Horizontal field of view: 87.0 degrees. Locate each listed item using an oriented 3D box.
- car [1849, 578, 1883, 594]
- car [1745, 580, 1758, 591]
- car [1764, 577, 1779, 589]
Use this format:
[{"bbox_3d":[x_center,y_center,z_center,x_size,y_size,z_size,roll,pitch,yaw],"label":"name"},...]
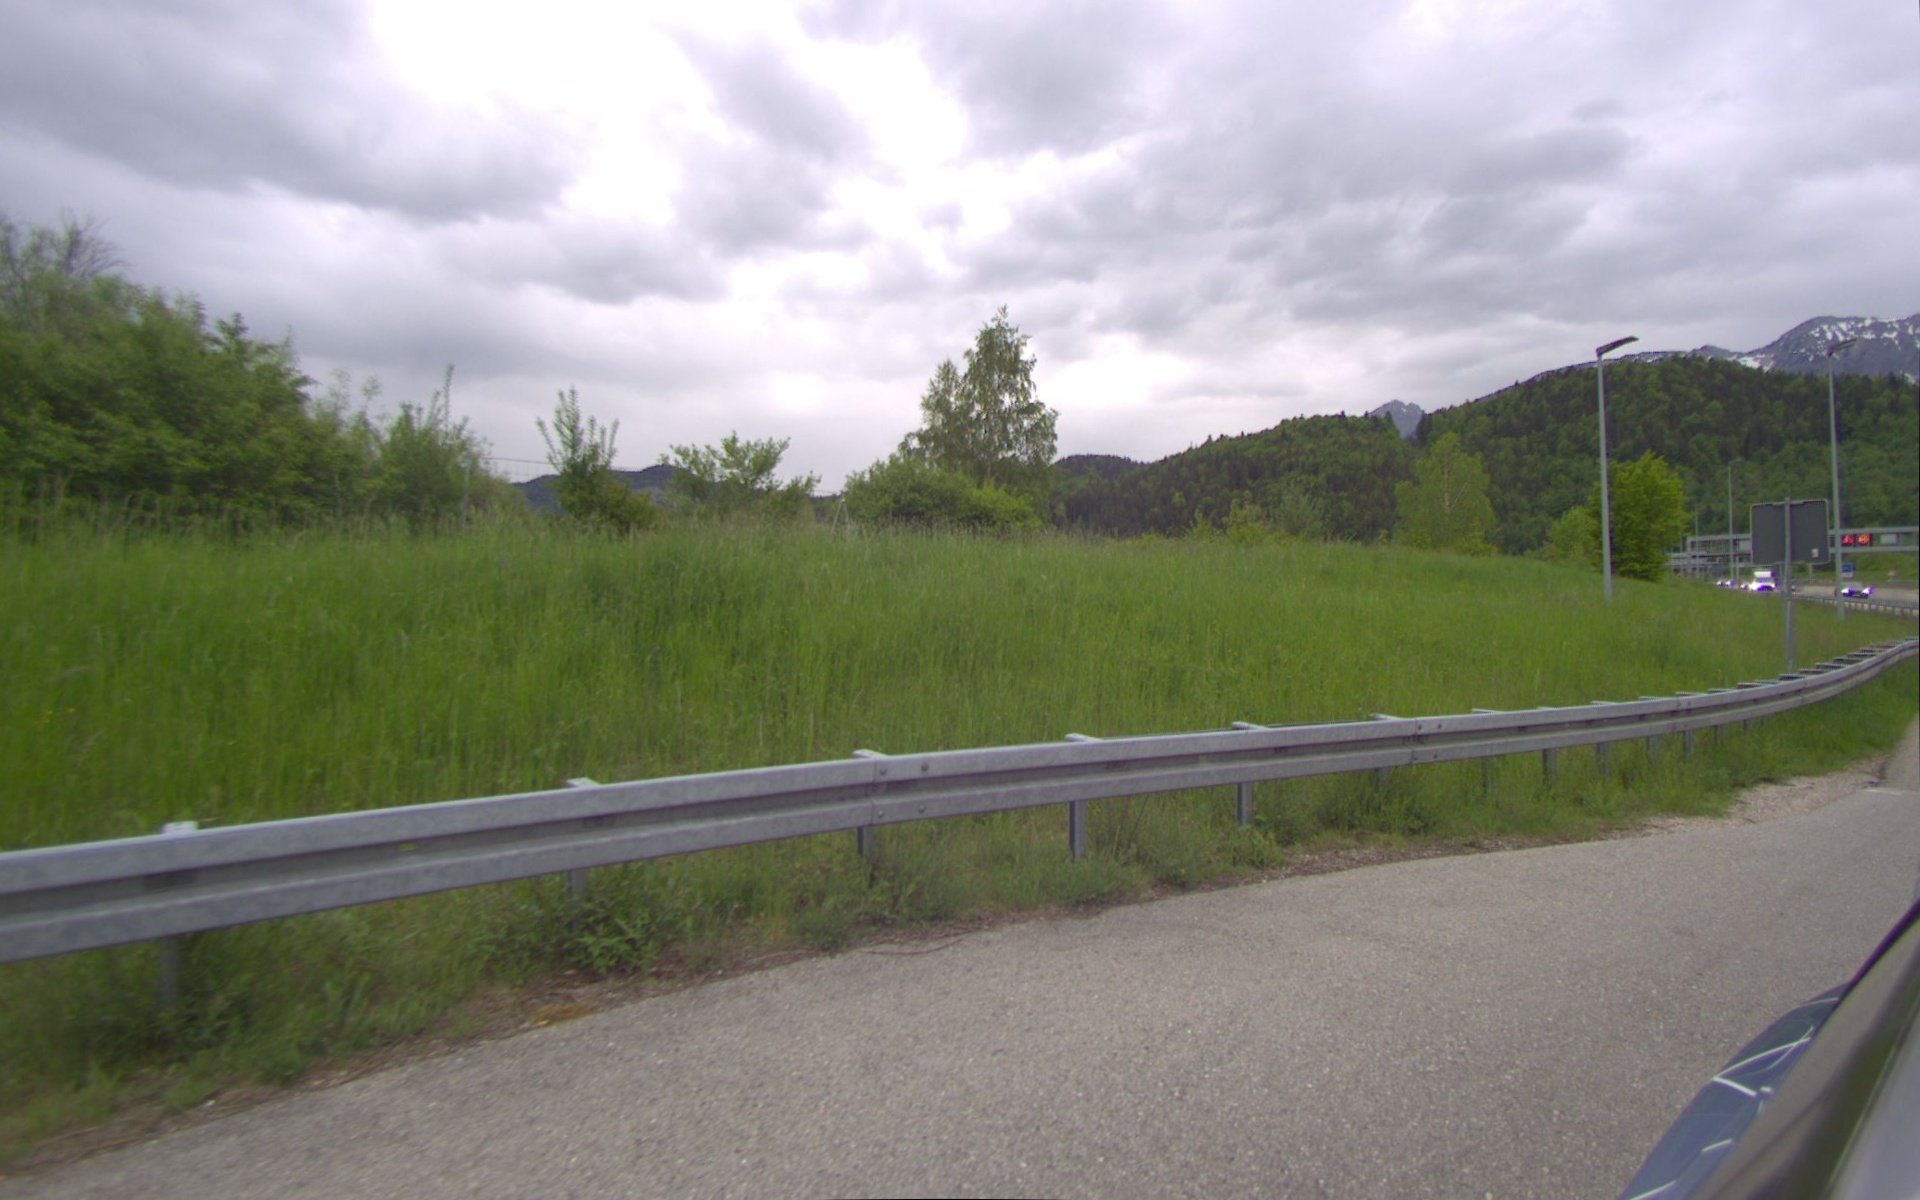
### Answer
[{"bbox_3d":[76.258,-1.210,85.210,1.654,1.354,3.746,1,1,34],"label":"car"},{"bbox_3d":[132.207,-2.426,169.043,1.623,1.719,3.448,1,1,38],"label":"car"},{"bbox_3d":[116.885,-2.494,145.818,1.623,1.719,3.448,1,1,38],"label":"car"}]
